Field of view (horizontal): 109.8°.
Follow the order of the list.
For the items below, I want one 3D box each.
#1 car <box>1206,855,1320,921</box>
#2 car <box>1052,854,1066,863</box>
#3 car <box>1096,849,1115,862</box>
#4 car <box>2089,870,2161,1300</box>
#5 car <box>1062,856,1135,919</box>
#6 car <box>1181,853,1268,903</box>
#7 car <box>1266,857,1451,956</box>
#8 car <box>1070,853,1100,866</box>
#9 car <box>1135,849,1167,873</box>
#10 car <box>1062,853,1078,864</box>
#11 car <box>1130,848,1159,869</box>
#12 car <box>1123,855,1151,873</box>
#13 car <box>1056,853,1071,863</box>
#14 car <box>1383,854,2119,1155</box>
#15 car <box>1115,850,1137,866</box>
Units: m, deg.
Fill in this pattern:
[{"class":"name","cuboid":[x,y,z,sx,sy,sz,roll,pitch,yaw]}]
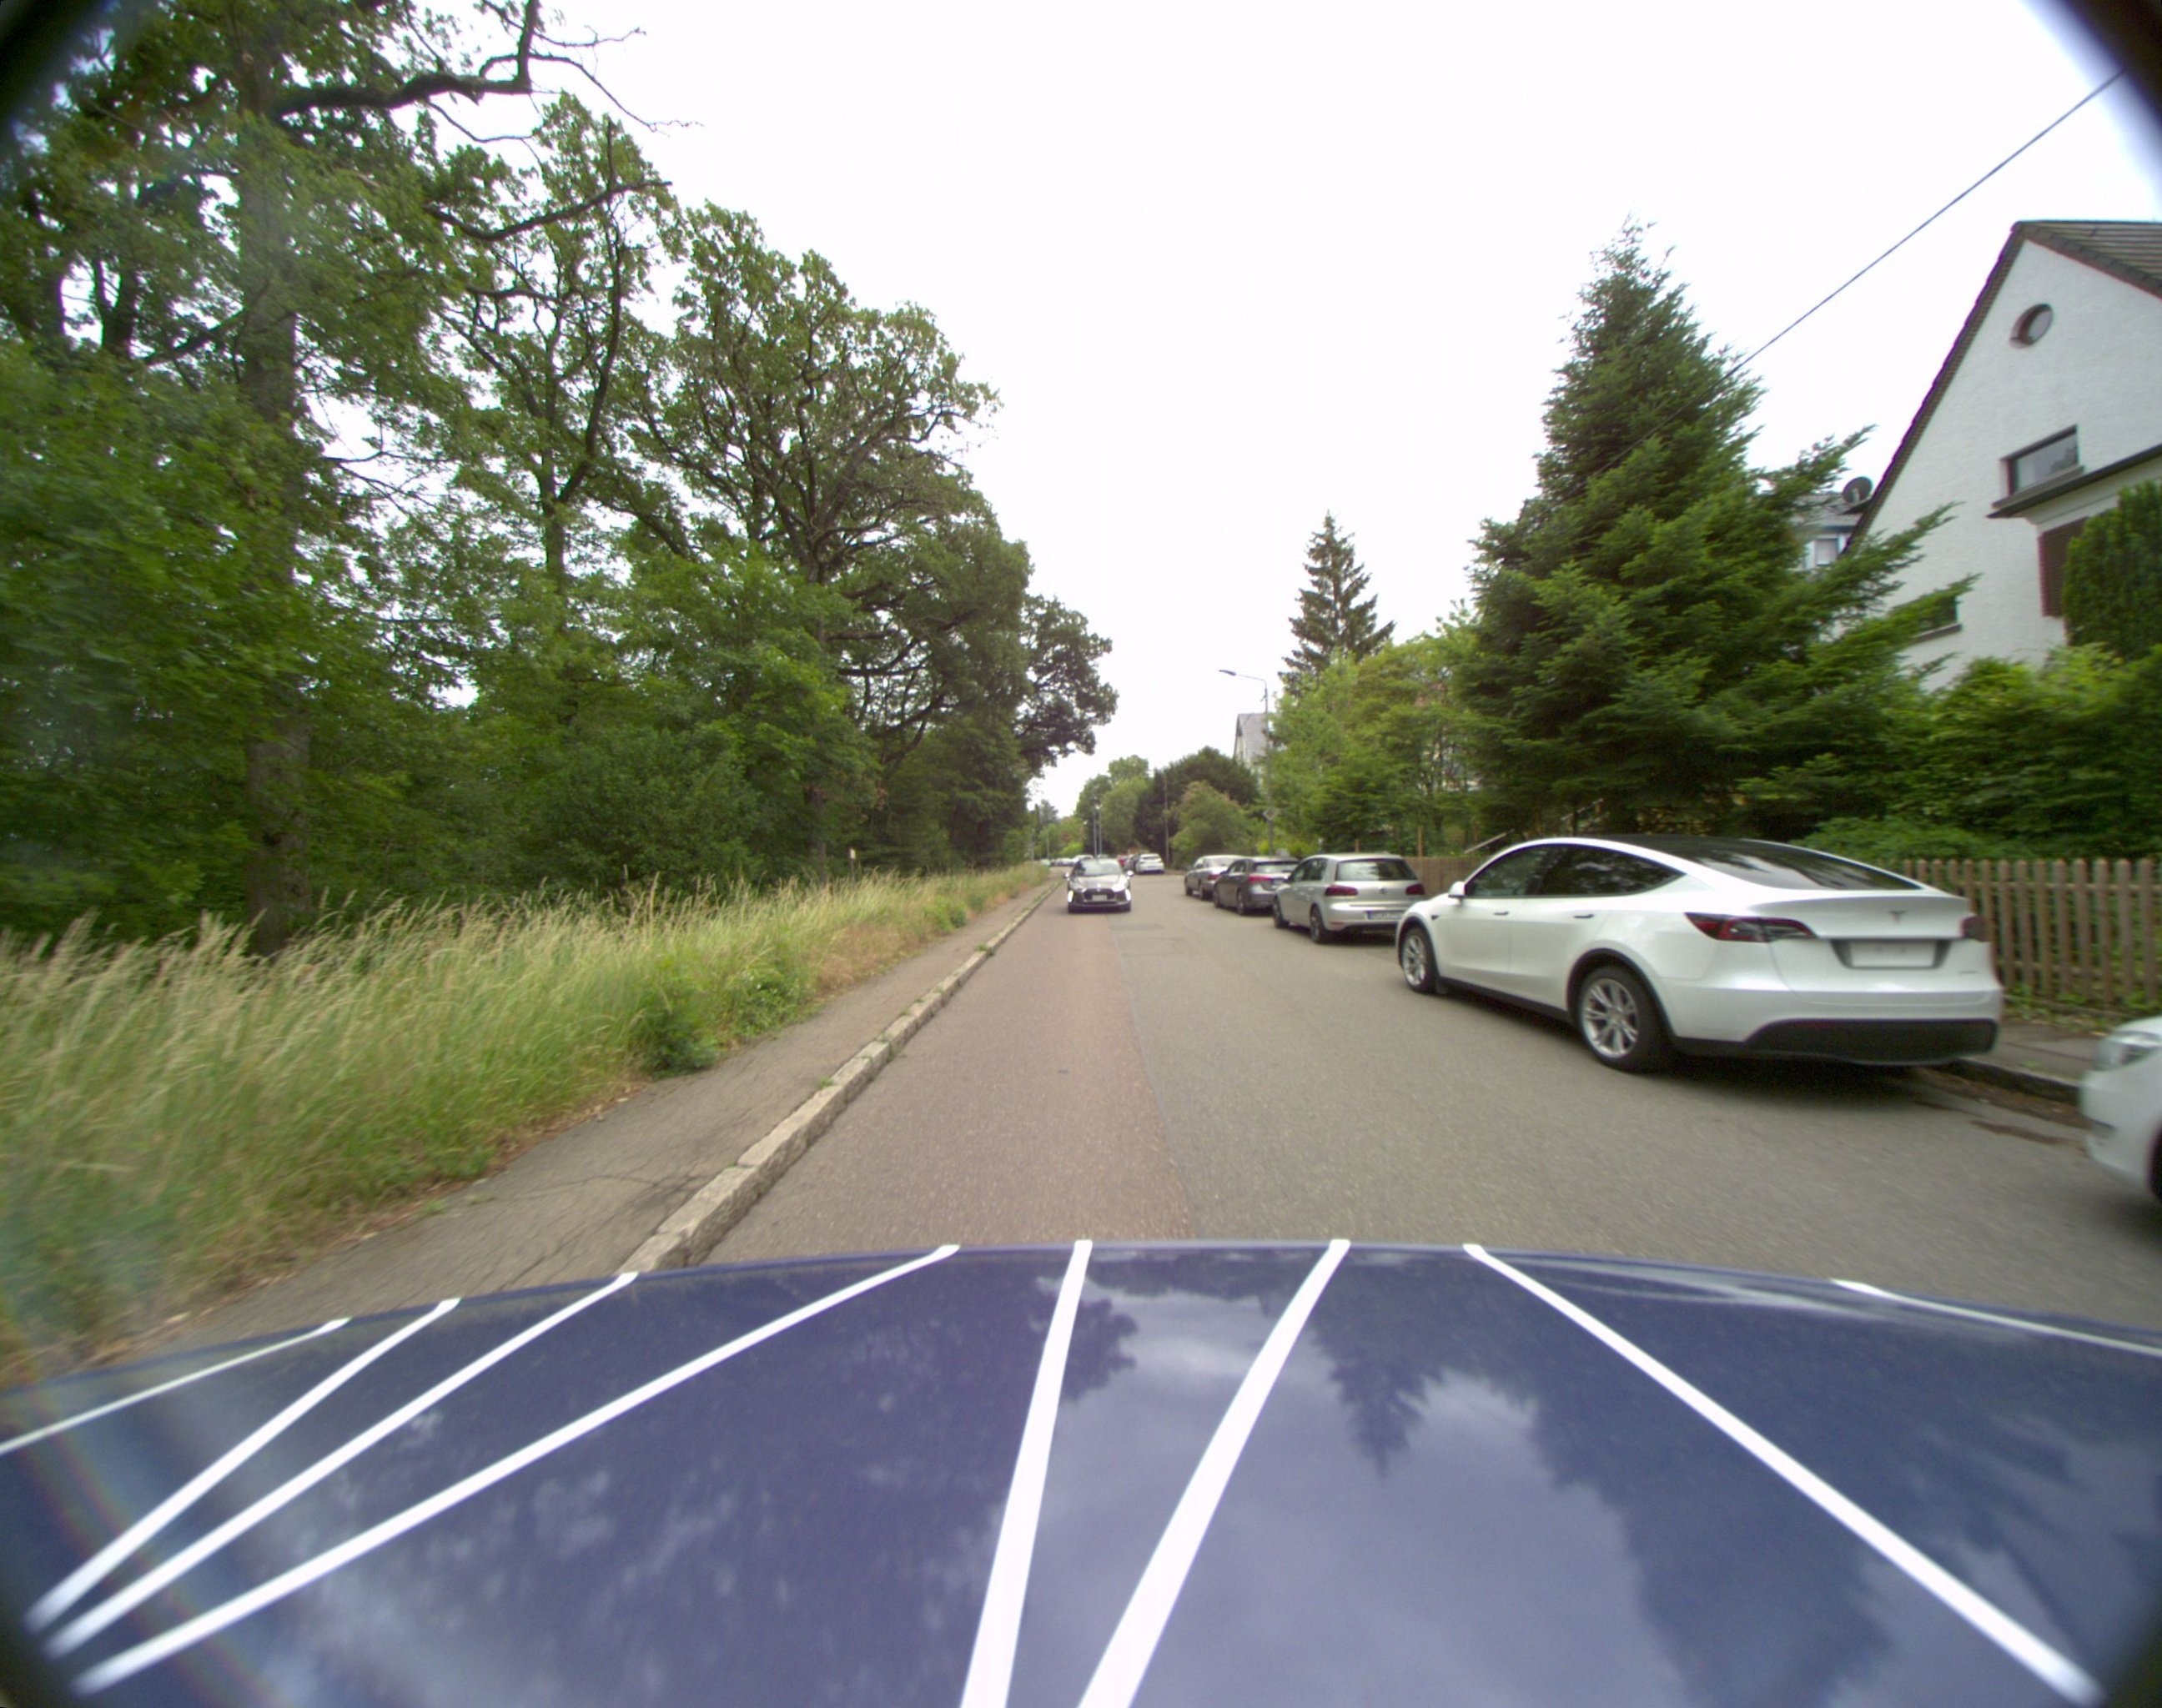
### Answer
[{"class":"car","cuboid":[4.479,0.769,19.354,1.739,1.431,4.261,-1,0,-2]},{"class":"car","cuboid":[-4.293,0.812,145.798,2.000,1.678,4.706,-3,0,-10]},{"class":"car","cuboid":[2.980,0.213,93.642,1.765,1.441,4.041,-3,0,-6]},{"class":"car","cuboid":[4.612,0.815,0.919,1.724,1.496,3.817,0,0,1]},{"class":"car","cuboid":[0.431,0.874,21.496,1.788,1.491,4.014,-3,0,-1]},{"class":"car","cuboid":[4.616,0.718,25.168,1.853,1.431,4.909,-1,0,-1]},{"class":"car","cuboid":[4.698,0.804,13.565,1.839,1.431,4.116,-1,0,1]},{"class":"car","cuboid":[0.589,0.767,111.974,1.995,1.678,4.719,-2,0,37]},{"class":"car","cuboid":[4.904,0.468,53.591,1.788,1.491,4.014,-3,0,-1]},{"class":"car","cuboid":[-1.944,0.746,131.331,2.000,1.678,4.706,-3,0,-10]},{"class":"car","cuboid":[4.876,0.331,58.553,1.788,1.491,4.014,-3,0,-1]},{"class":"car","cuboid":[4.694,0.812,63.783,1.788,1.431,4.322,-3,0,-2]},{"class":"car","cuboid":[-3.285,0.739,139.241,2.000,1.678,4.706,-3,0,-10]},{"class":"car","cuboid":[4.430,0.788,6.277,1.921,1.553,4.603,0,0,-2]},{"class":"car","cuboid":[4.380,0.389,74.232,1.741,1.431,3.786,-3,0,-2]}]
